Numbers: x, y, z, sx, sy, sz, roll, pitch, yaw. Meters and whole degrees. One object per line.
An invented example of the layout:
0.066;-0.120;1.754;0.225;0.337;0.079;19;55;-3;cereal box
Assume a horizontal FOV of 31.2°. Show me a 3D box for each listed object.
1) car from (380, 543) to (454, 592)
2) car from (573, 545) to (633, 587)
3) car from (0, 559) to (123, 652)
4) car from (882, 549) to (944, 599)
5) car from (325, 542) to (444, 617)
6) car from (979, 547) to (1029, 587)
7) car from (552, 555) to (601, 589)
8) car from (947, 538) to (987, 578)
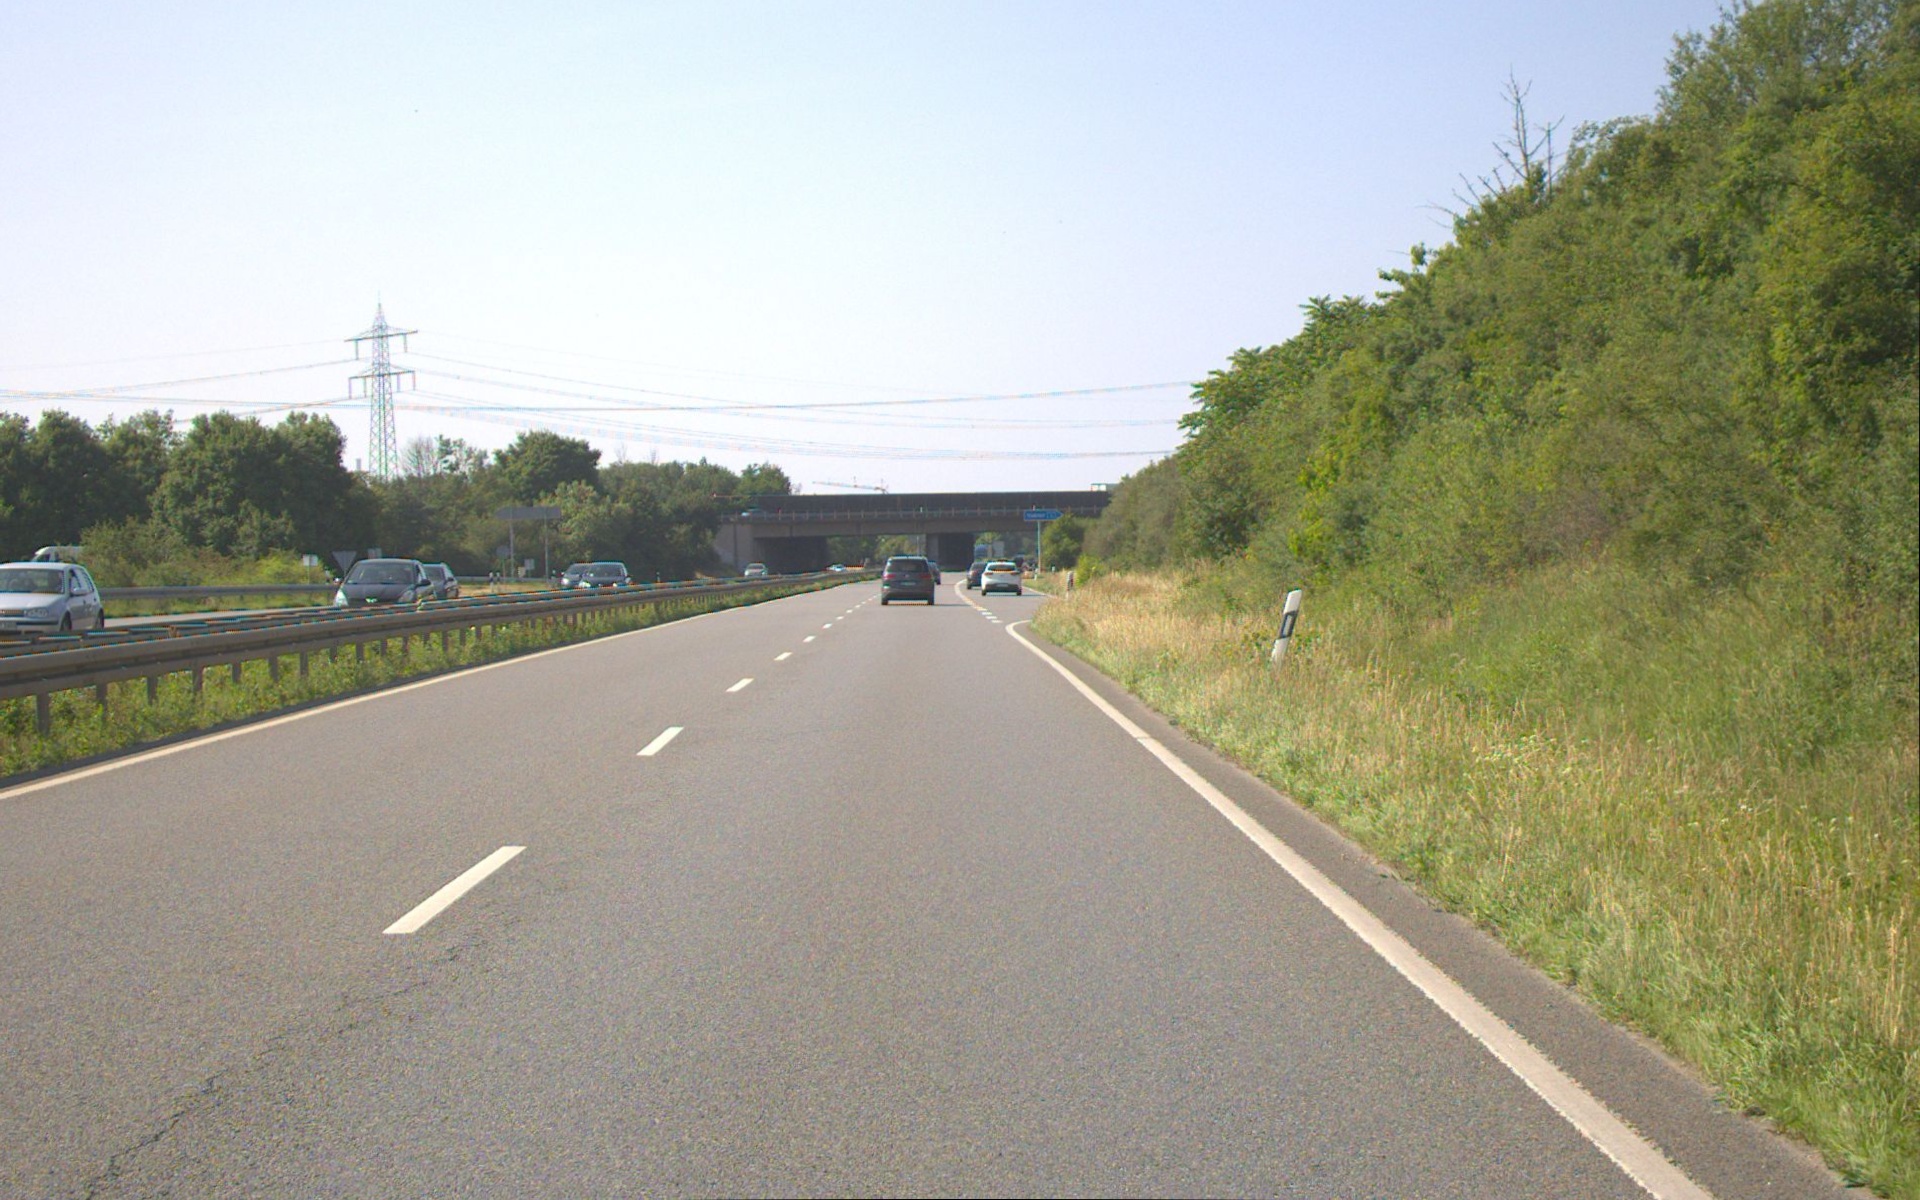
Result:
-16.664;-1.017;105.640;1.713;1.445;4.324;-1;1;-2;car
-13.146;-1.262;126.776;1.814;1.468;4.324;1;1;-1;car
-15.092;0.063;56.068;1.821;1.391;4.416;1;1;0;car
-1.558;-0.885;115.455;1.850;1.639;4.000;-1;1;2;car
-11.797;-0.446;70.674;1.712;1.465;4.416;1;1;0;car
1.930;-1.431;148.847;1.796;1.659;3.999;1;1;6;car
-17.633;-1.308;158.385;1.814;1.468;4.324;1;1;-1;car
0.377;-2.270;184.662;1.993;2.007;4.000;-3;1;-1;car
